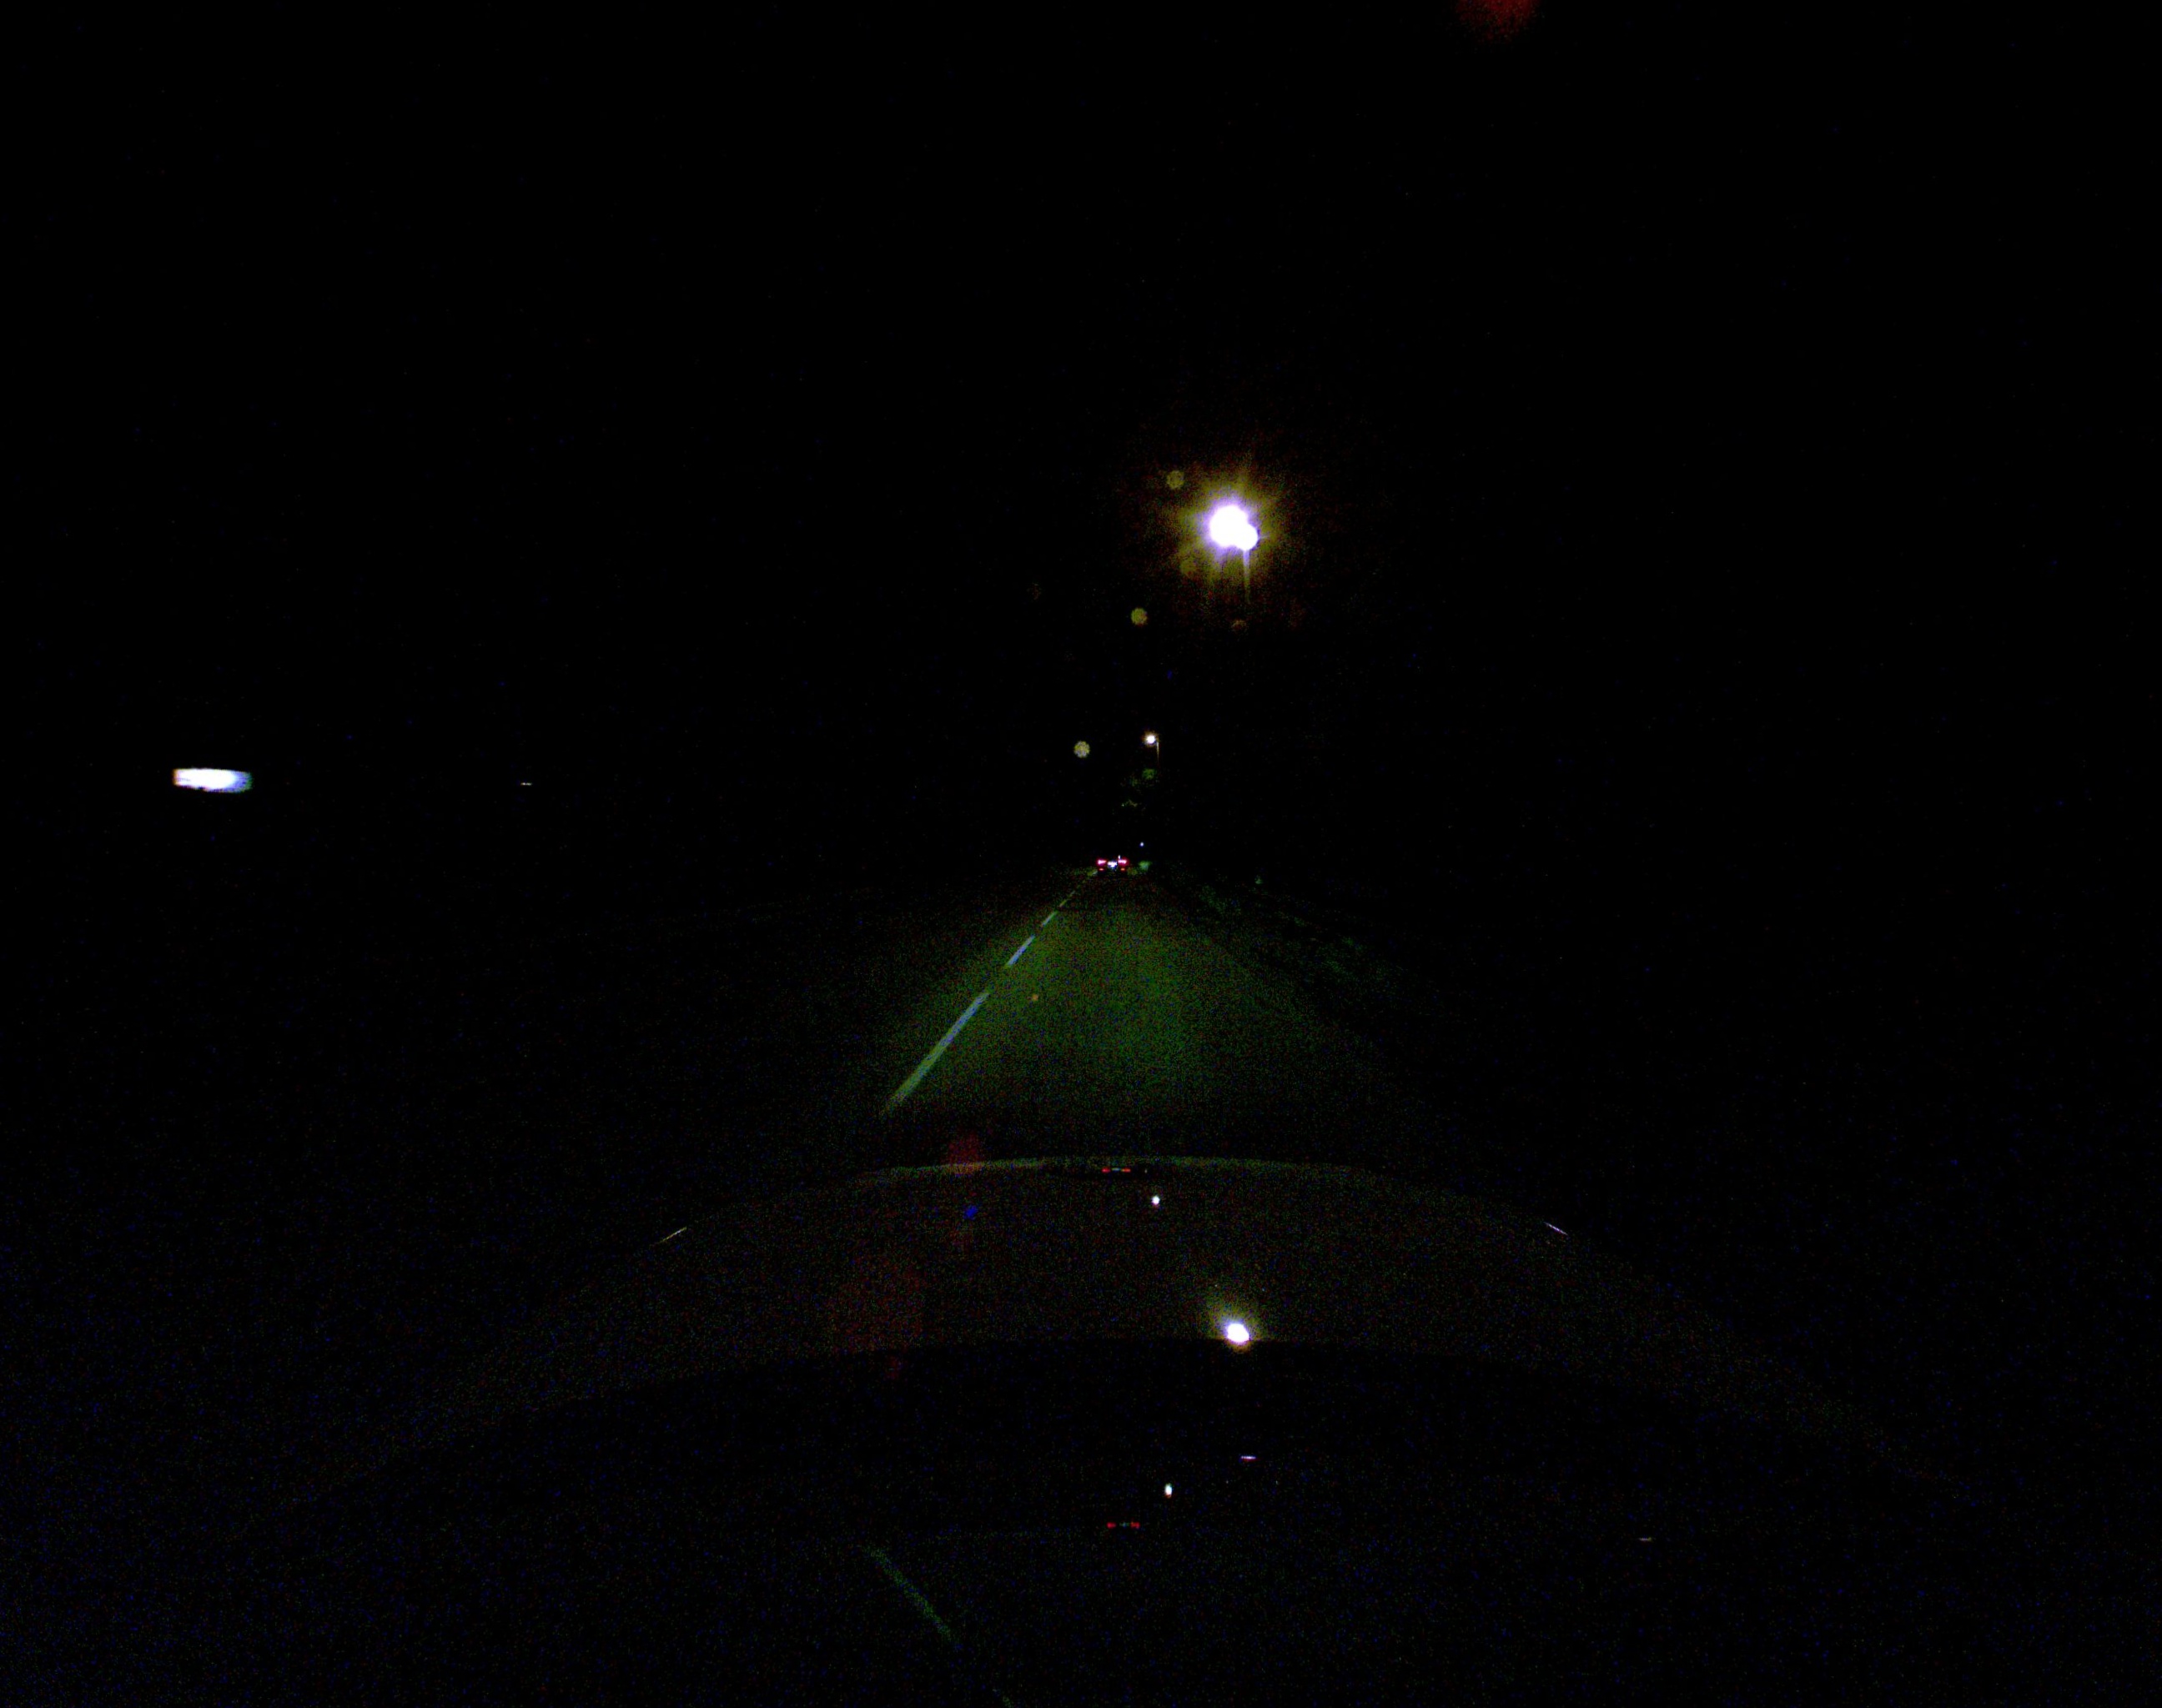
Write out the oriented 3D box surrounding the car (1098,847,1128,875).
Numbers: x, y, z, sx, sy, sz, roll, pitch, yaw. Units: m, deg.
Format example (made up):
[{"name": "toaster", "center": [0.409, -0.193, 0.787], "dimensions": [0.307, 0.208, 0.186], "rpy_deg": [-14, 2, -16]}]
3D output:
[{"name": "car", "center": [1.970, 0.403, 49.977], "dimensions": [1.756, 1.641, 3.725], "rpy_deg": [-1, 1, 2]}]
